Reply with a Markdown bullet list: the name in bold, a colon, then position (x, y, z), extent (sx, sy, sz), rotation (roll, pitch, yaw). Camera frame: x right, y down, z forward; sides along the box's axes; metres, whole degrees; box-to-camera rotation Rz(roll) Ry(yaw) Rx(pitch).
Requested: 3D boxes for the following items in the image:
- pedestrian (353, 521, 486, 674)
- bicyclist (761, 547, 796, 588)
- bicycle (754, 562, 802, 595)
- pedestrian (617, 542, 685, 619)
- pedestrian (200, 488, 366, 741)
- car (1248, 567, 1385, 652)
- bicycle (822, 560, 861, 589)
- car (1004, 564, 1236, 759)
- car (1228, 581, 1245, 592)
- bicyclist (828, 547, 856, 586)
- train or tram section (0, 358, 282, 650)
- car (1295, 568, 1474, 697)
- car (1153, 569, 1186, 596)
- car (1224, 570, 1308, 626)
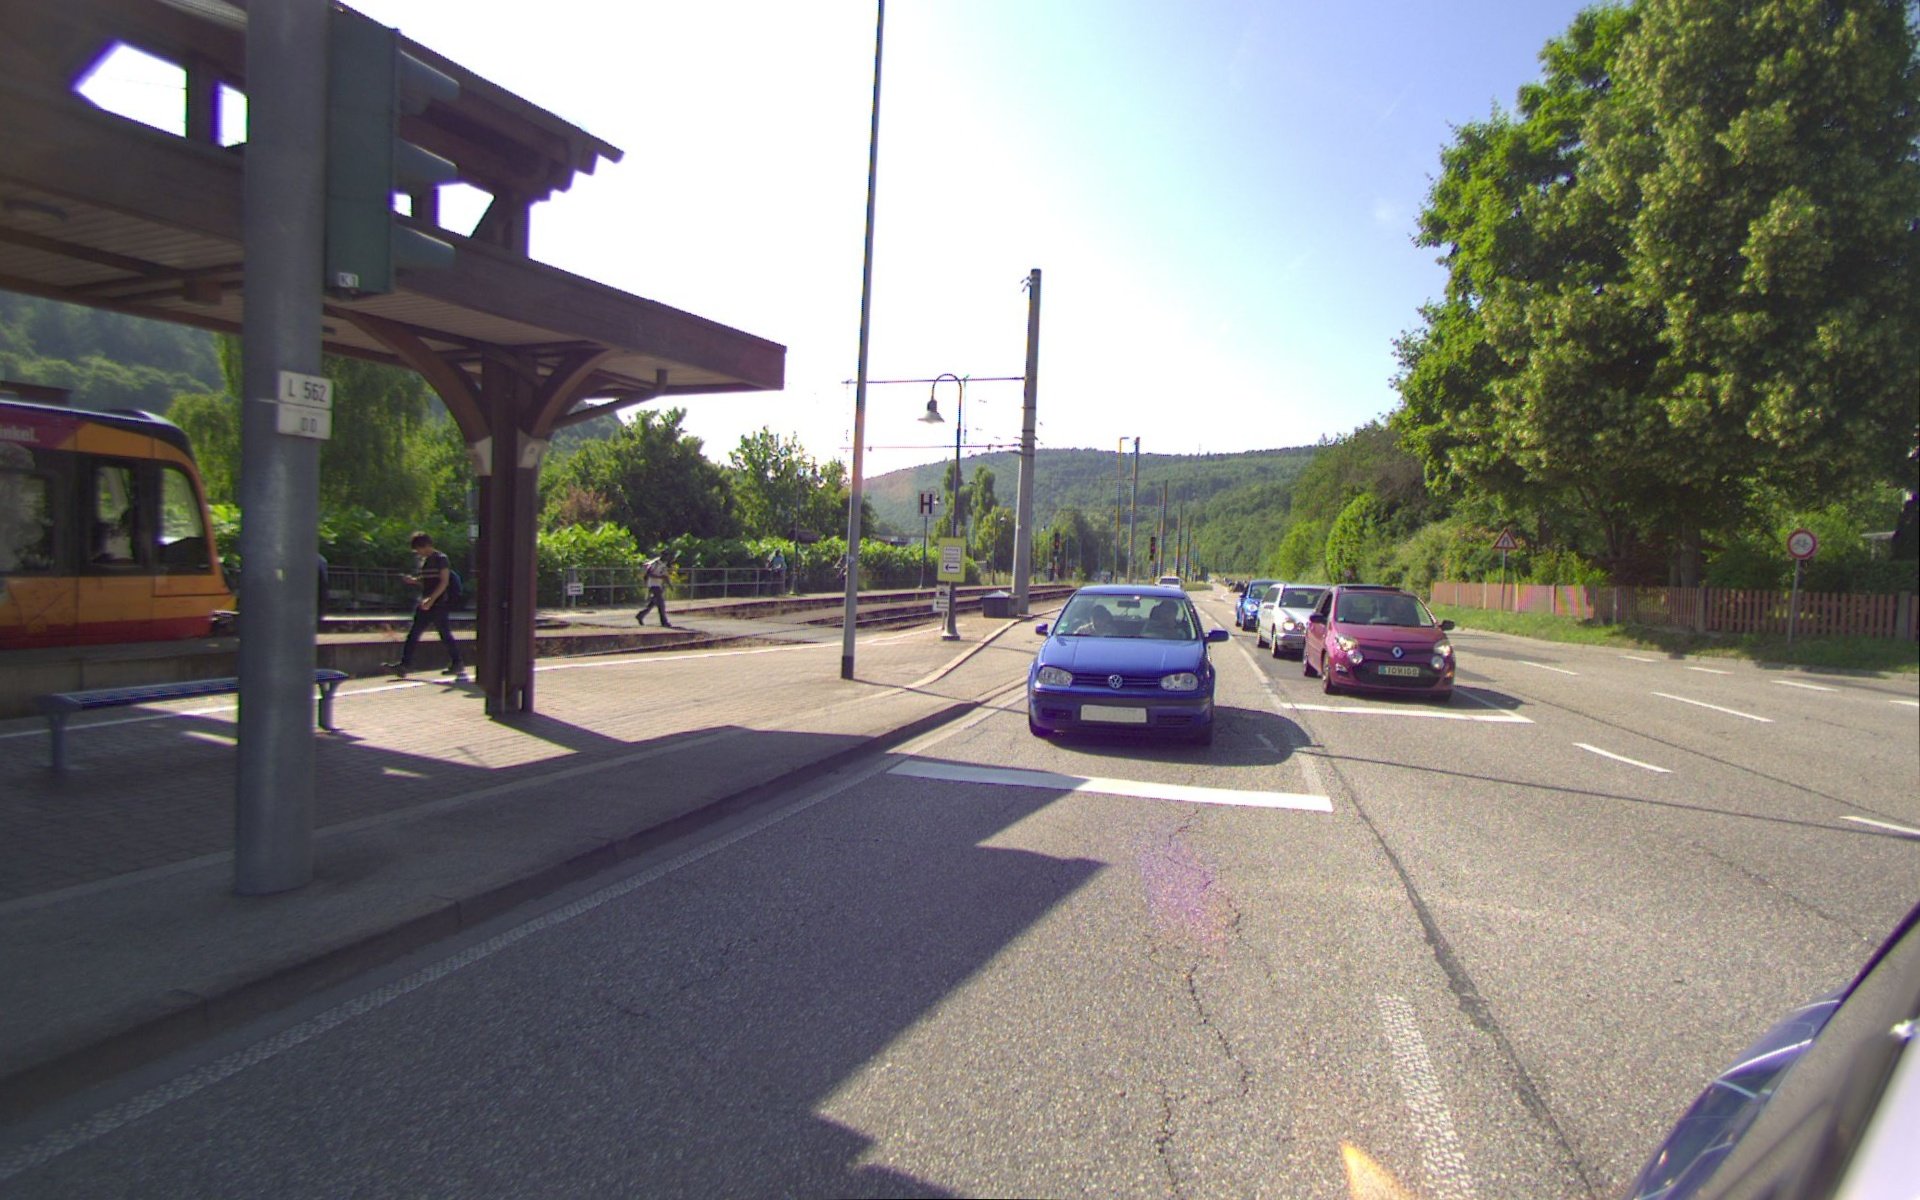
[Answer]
- **pedestrian**: position (-5.883, -0.039, 11.046), extent (0.854, 1.566, 0.915), rotation (3, 1, 23)
- **bicyclist**: position (-7.108, -1.254, 39.646), extent (0.997, 1.573, 1.035), rotation (1, 0, 18)
- **bicycle**: position (-7.124, -0.826, 39.712), extent (0.862, 1.270, 2.282), rotation (1, 0, 18)
- **pedestrian**: position (-7.214, -0.449, 23.657), extent (1.237, 1.758, 0.909), rotation (1, 0, 23)
- **pedestrian**: position (-4.883, 0.084, 7.333), extent (0.649, 1.712, 0.736), rotation (2, 2, 15)
- **car**: position (7.210, 0.158, 20.947), extent (1.949, 1.523, 4.735), rotation (1, 1, 11)
- **bicycle**: position (-5.335, -1.139, 45.800), extent (0.862, 1.270, 2.282), rotation (1, 0, 18)
- **car**: position (1.753, 0.431, 10.441), extent (1.838, 1.501, 4.286), rotation (2, 2, 13)
- **car**: position (41.983, -2.022, 153.700), extent (1.967, 1.705, 3.990), rotation (1, 0, 8)
- **bicyclist**: position (-5.341, -1.504, 45.744), extent (0.997, 1.748, 0.861), rotation (1, 0, 18)
- **train or tram section**: position (-13.959, -1.080, 8.835), extent (2.832, 3.406, 14.248), rotation (2, 2, 22)
- **car**: position (5.978, 0.372, 14.692), extent (1.637, 1.553, 3.941), rotation (2, 1, 12)
- **car**: position (13.121, -1.116, 63.508), extent (1.969, 1.605, 3.987), rotation (0, 1, 11)
- **car**: position (9.050, -0.062, 30.222), extent (1.949, 1.523, 3.974), rotation (1, 0, 11)
